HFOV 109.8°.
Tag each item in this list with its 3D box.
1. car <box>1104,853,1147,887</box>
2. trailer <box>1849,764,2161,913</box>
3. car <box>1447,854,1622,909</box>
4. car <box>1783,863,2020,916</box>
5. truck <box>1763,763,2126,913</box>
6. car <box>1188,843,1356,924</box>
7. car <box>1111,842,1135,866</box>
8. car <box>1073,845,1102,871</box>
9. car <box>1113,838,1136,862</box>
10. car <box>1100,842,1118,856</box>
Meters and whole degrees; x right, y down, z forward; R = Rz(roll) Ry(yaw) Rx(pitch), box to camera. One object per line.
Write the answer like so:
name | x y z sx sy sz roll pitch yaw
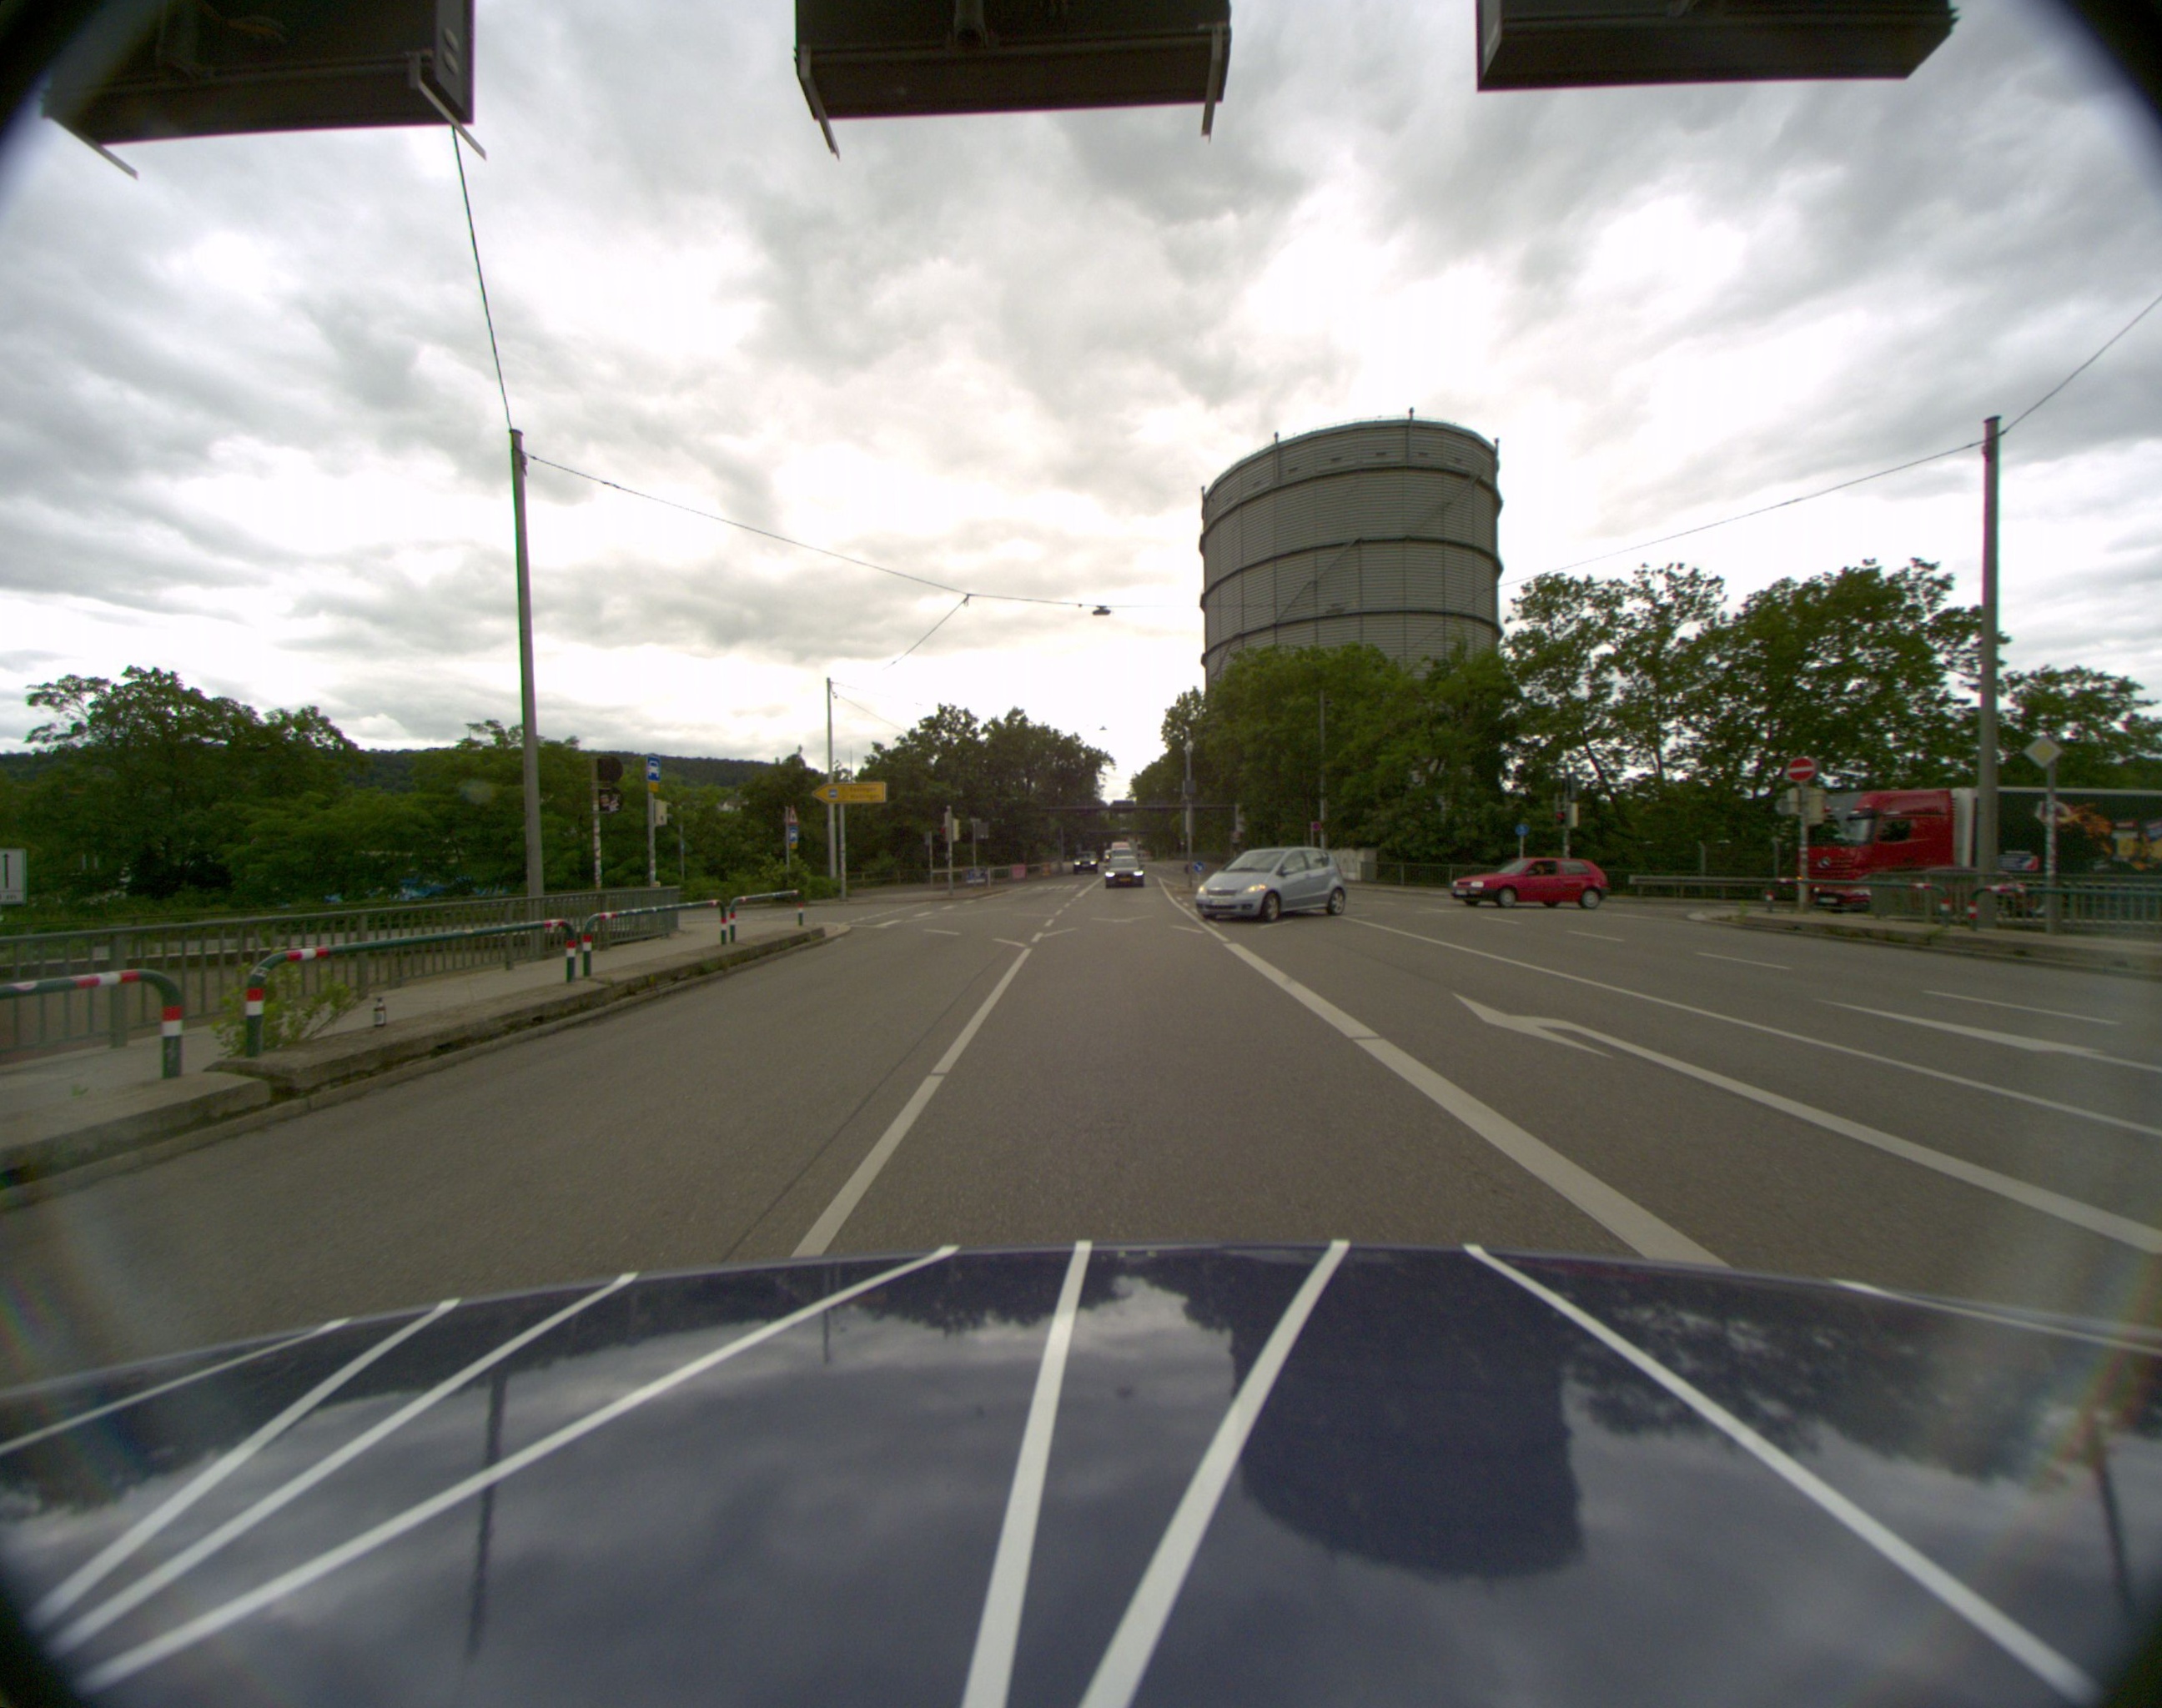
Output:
car | 2.207 0.716 36.629 1.932 1.412 4.453 -2 1 5
trailer | 33.685 -0.333 24.359 13.768 4.296 3.672 2 0 3
car | 12.640 0.777 21.329 3.953 1.454 1.748 1 -1 -5
car | 23.297 1.008 21.766 4.460 1.412 1.699 -1 0 11
truck | 27.565 -0.494 24.677 7.228 4.296 3.672 2 0 3
car | 4.312 0.616 16.975 3.690 1.594 1.743 1 0 -39
car | 3.500 0.029 64.372 1.933 1.987 4.453 0 -1 2
car | 0.619 0.299 63.695 2.331 1.905 4.947 0 2 2
car | 4.649 -0.461 82.414 2.331 2.509 4.949 1 0 2
car | 4.094 -0.691 109.984 2.330 1.905 5.401 0 1 5
